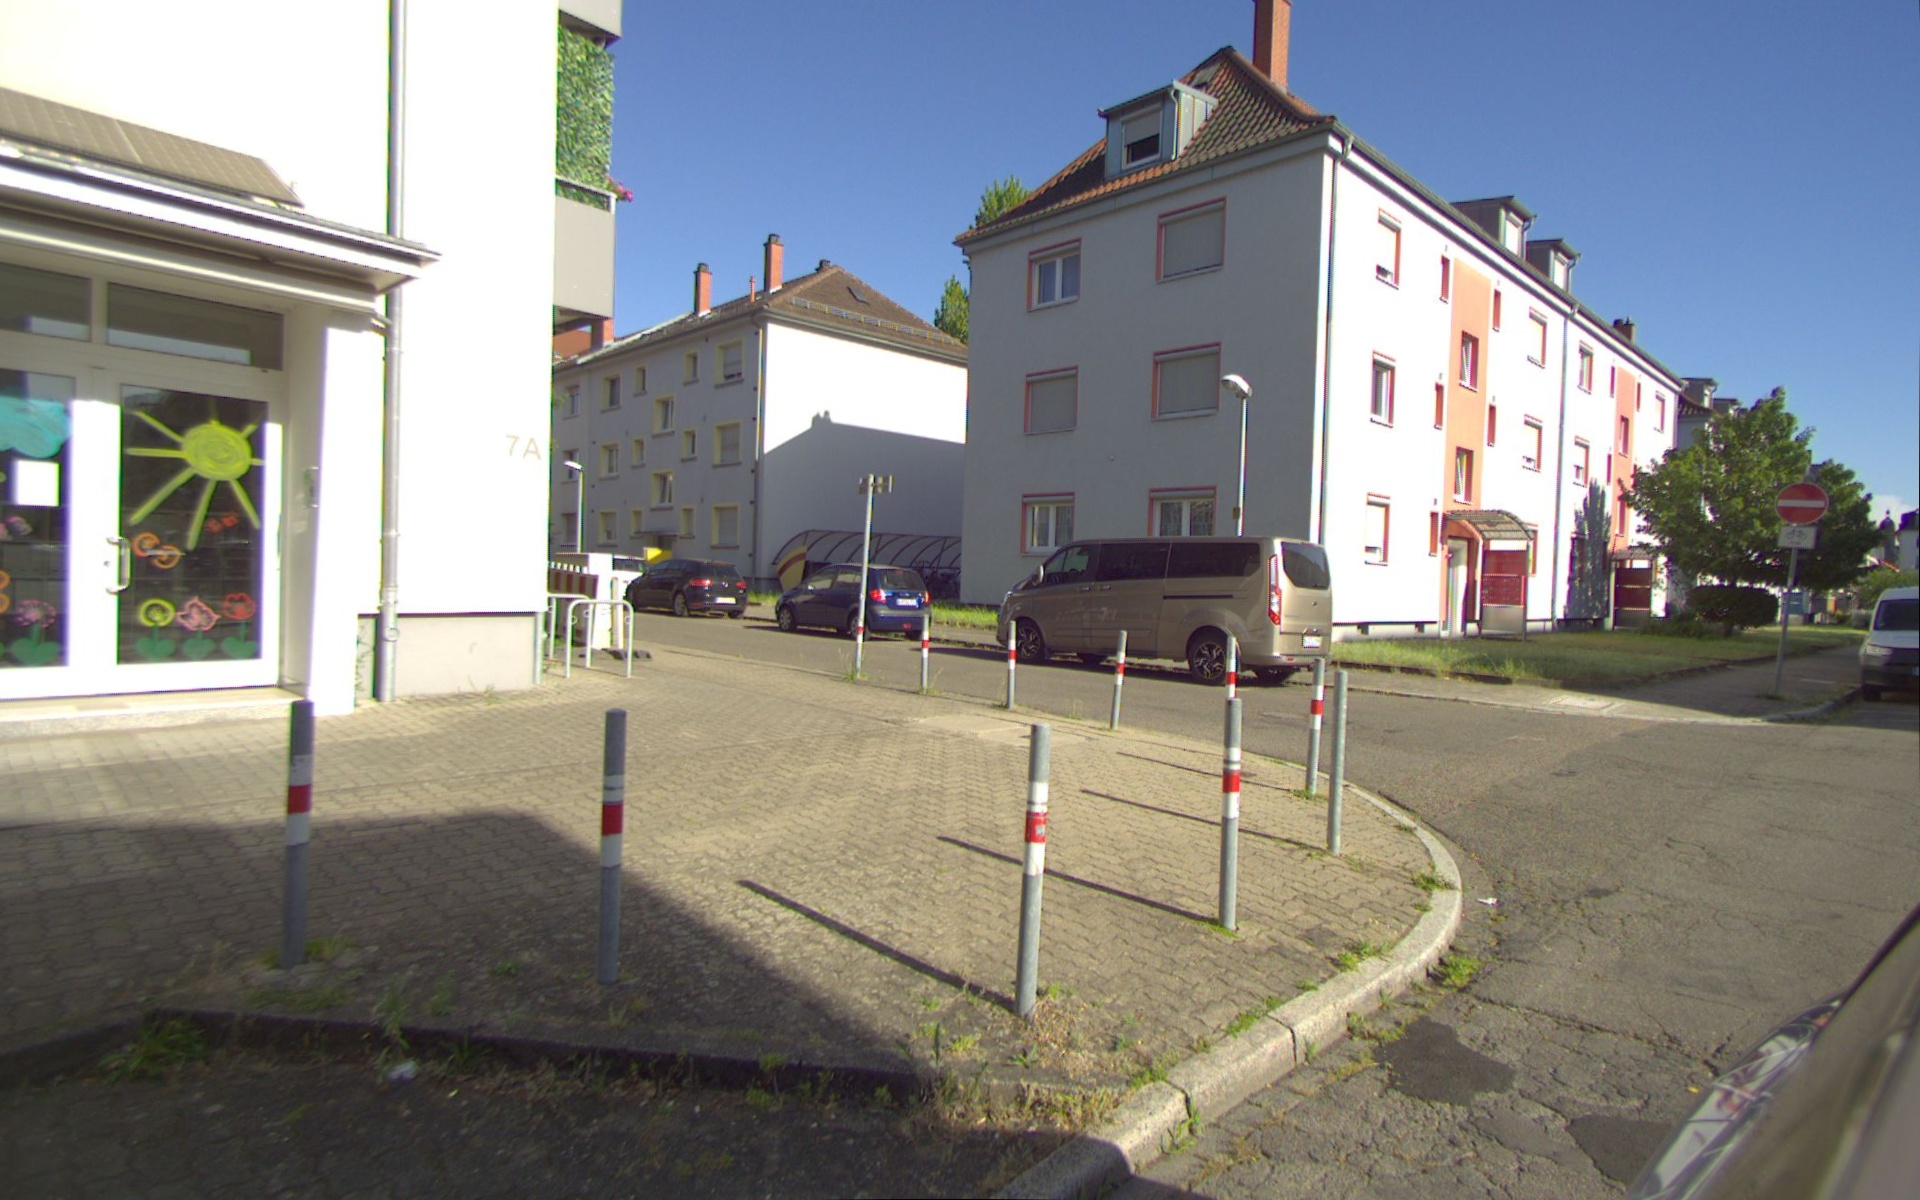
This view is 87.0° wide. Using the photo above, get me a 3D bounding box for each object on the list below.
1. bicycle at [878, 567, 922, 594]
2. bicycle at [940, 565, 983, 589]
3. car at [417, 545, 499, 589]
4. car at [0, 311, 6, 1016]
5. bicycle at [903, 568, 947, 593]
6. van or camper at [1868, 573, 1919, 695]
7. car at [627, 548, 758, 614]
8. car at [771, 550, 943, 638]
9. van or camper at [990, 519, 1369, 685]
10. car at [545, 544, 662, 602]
[{"bbox_3d":[-2.097,-0.686,35.385,0.497,0.790,1.830,1,4,-41],"label":"bicycle"},{"bbox_3d":[0.049,-0.866,37.790,0.497,0.790,1.830,1,4,-41],"label":"bicycle"},{"bbox_3d":[-19.200,-1.263,38.632,1.652,1.473,4.072,3,1,-44],"label":"car"},{"bbox_3d":[-3.344,0.463,0.498,1.747,1.845,4.069,7,5,42],"label":"car"},{"bbox_3d":[-1.280,-0.704,36.506,0.497,0.790,1.830,1,4,-41],"label":"bicycle"},{"bbox_3d":[15.864,0.480,16.036,4.655,1.770,1.793,0,-2,-44],"label":"van or camper"},{"bbox_3d":[-6.785,-0.501,25.497,1.652,1.473,3.478,3,1,-44],"label":"car"},{"bbox_3d":[-2.133,-0.169,20.361,1.652,1.548,3.478,0,3,-44],"label":"car"},{"bbox_3d":[3.034,-0.069,14.888,5.125,2.039,1.968,4,1,44],"label":"van or camper"},{"bbox_3d":[-10.414,-0.800,29.412,1.652,1.473,4.072,3,1,-44],"label":"car"}]
